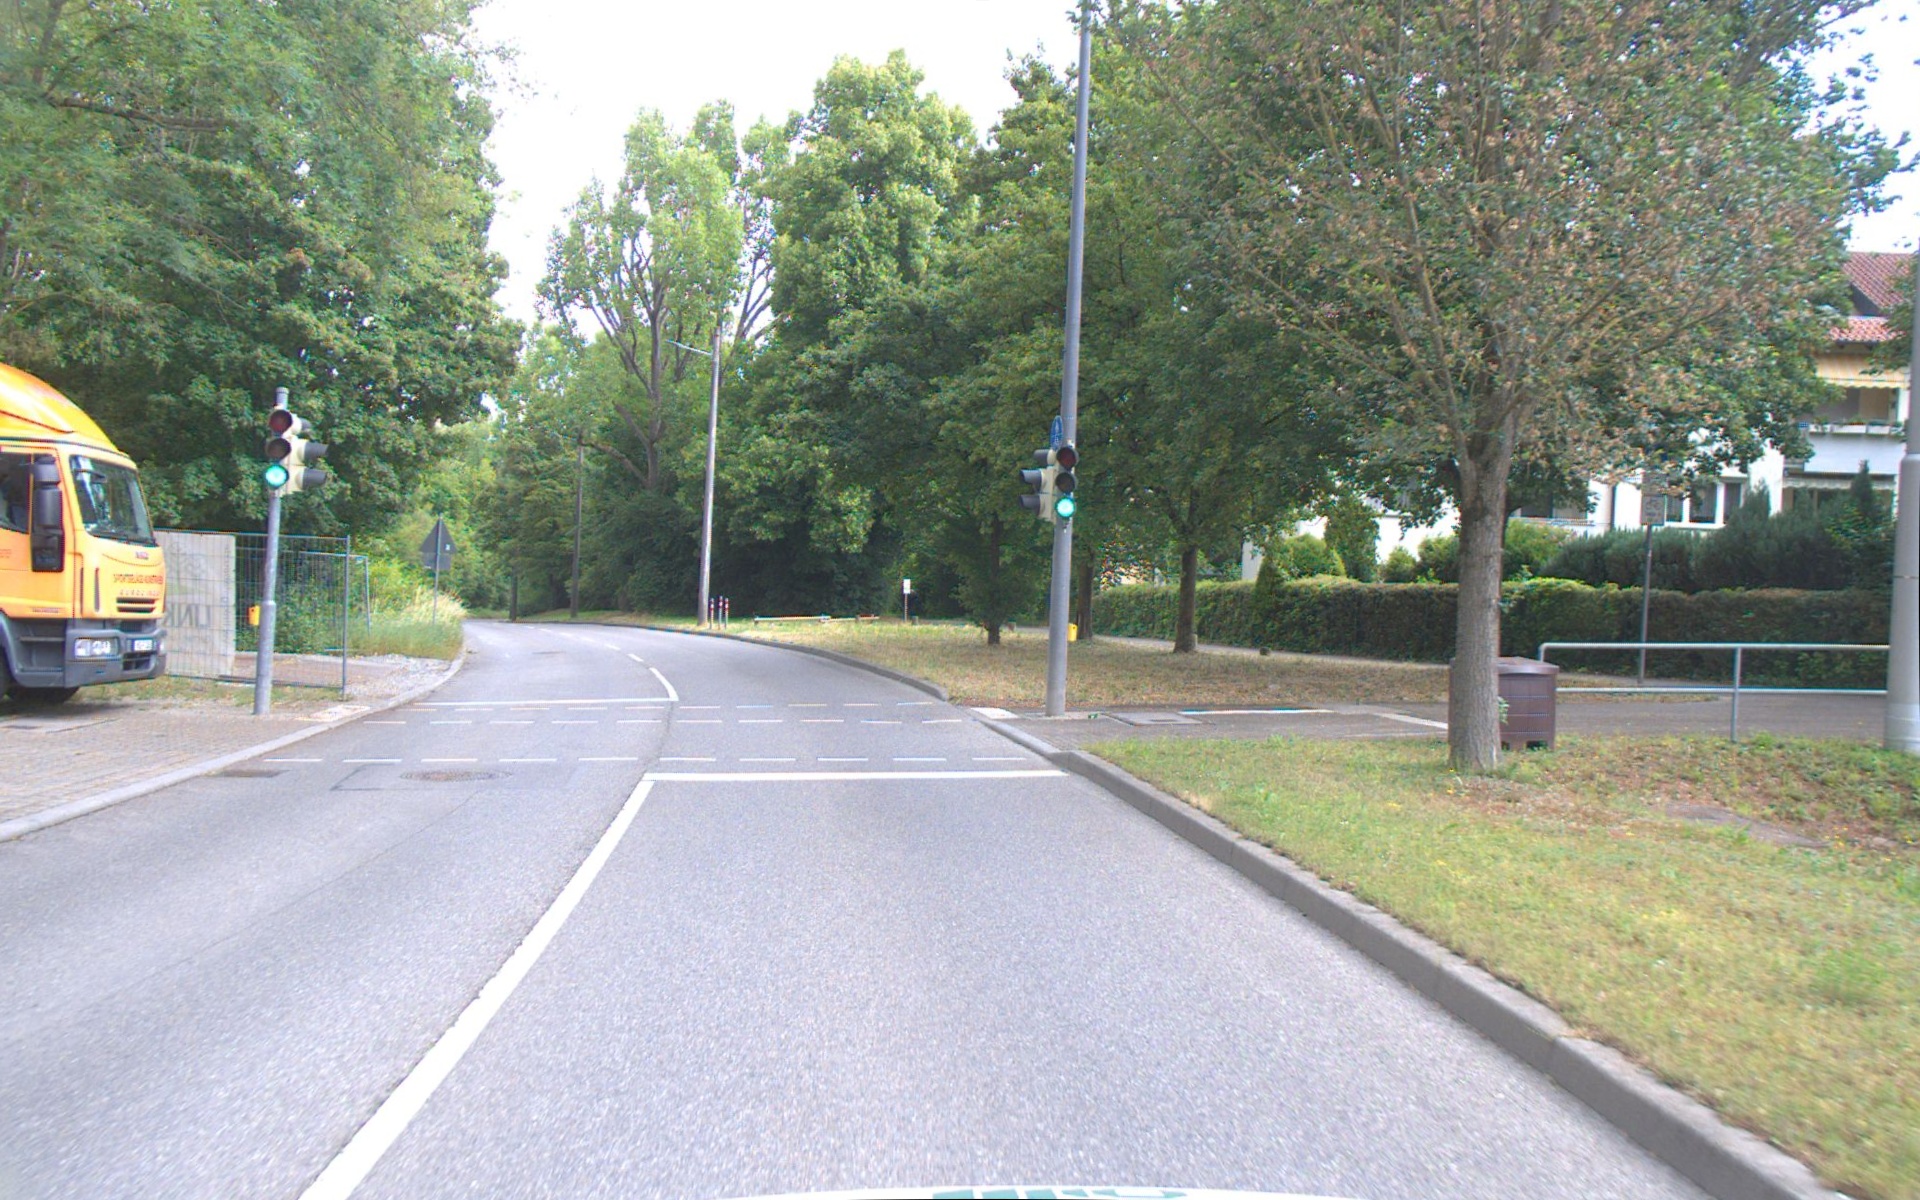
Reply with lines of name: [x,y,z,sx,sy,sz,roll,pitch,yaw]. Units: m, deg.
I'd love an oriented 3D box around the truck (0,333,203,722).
truck: [-12.658,-0.833,16.159,9.057,3.593,2.561,2,-1,-8]
